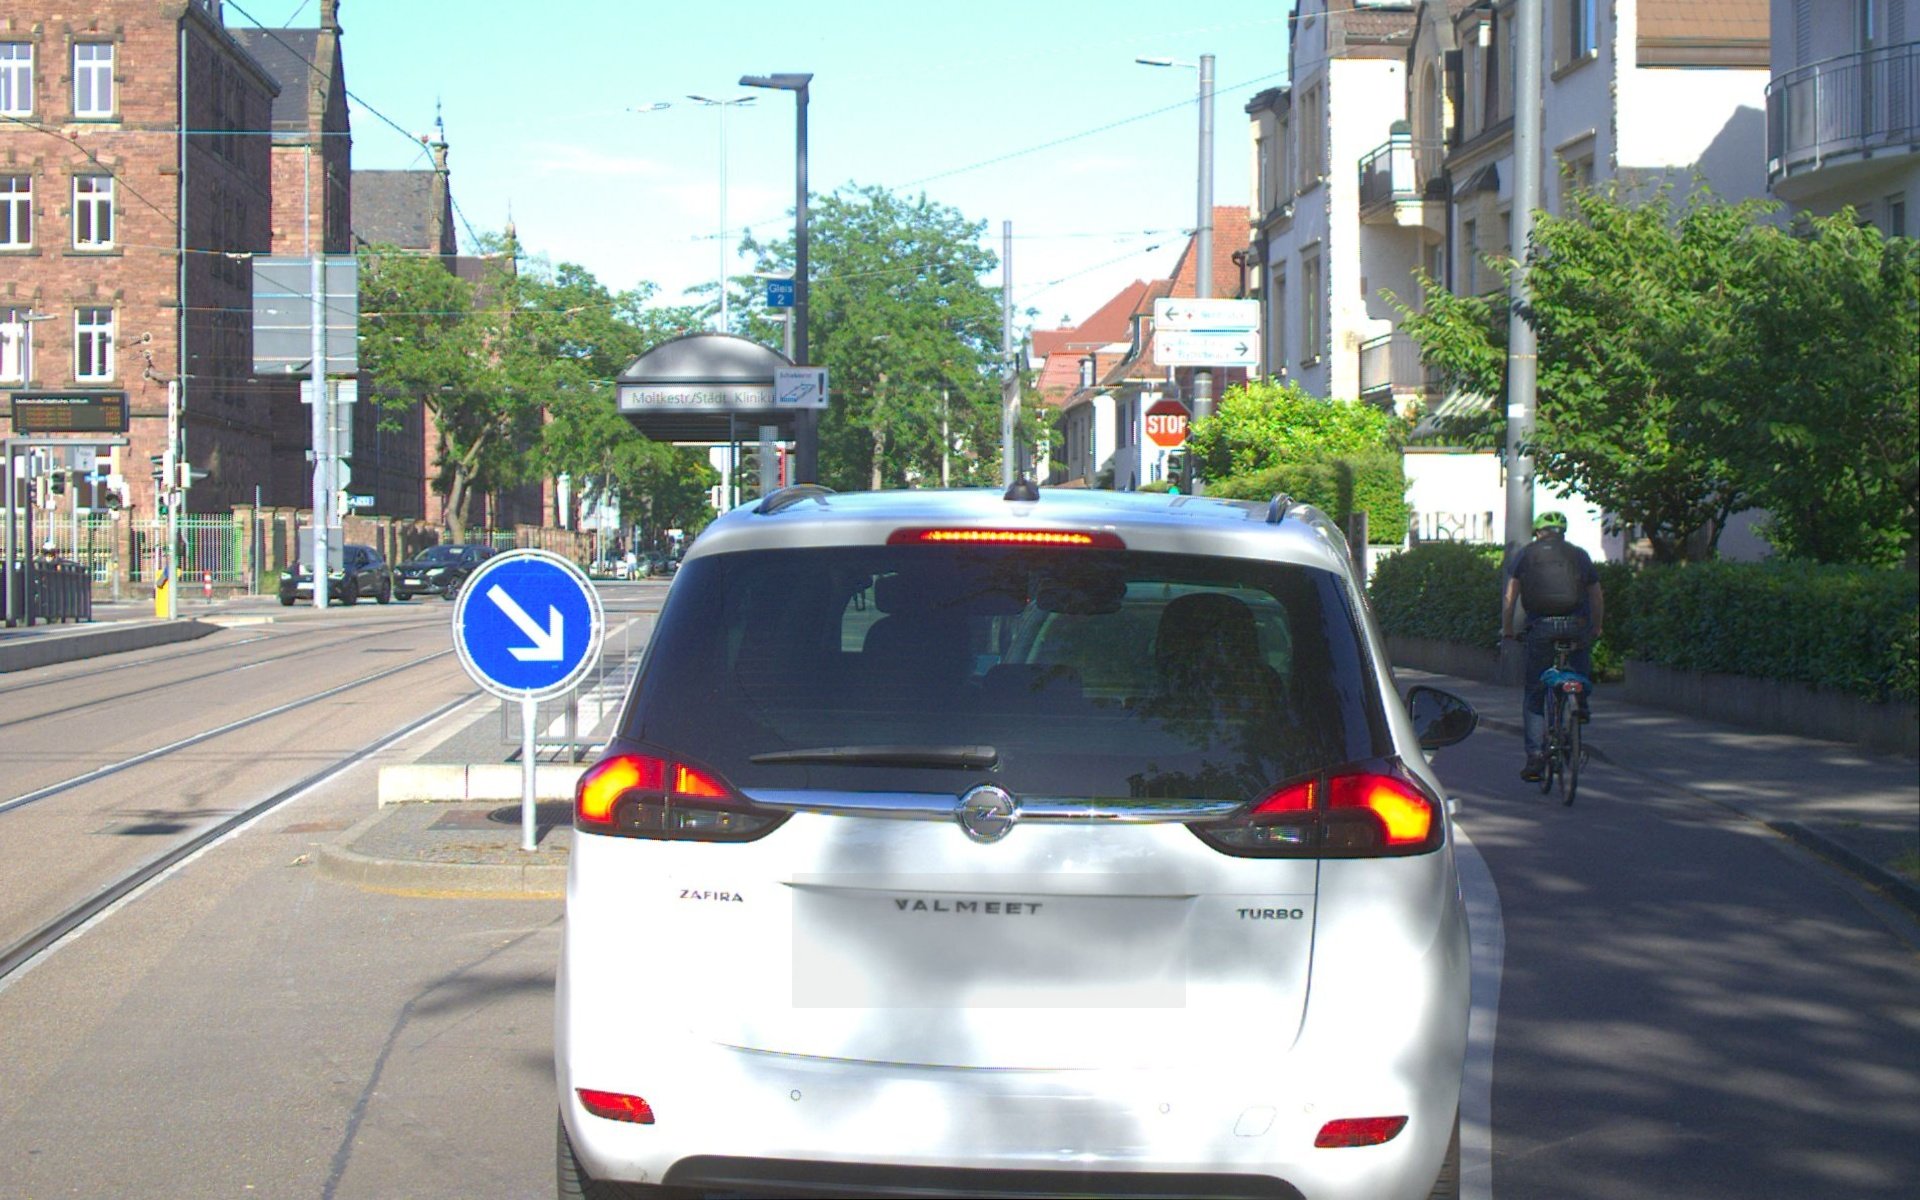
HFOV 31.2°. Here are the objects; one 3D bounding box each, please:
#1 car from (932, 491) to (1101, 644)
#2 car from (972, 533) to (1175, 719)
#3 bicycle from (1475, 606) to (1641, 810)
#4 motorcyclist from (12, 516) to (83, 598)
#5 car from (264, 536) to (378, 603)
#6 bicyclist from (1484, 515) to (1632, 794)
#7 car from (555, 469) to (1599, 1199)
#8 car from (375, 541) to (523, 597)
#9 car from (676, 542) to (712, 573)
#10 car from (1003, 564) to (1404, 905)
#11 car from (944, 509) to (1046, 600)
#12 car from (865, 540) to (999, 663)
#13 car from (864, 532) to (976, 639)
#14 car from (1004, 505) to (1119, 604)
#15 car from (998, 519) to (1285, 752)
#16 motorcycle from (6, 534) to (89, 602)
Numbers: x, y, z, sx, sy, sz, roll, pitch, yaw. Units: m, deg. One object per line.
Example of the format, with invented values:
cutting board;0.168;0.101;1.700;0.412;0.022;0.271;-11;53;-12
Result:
car;0.598;-0.371;39.097;1.776;1.626;3.881;1;1;-1
car;1.028;0.215;32.444;1.776;1.626;3.880;1;1;1
bicycle;3.591;0.629;20.739;0.685;1.153;1.619;1;0;-1
motorcyclist;-17.063;-0.801;64.296;1.124;1.520;1.055;1;0;-7
car;-15.178;-0.730;81.876;1.993;1.541;4.000;1;1;-1
bicyclist;3.595;0.316;20.737;0.685;1.629;1.015;1;0;-1
car;0.127;0.580;8.048;1.834;1.636;3.919;1;1;-2
car;-14.524;-0.879;97.853;1.997;1.541;3.992;1;1;34
car;-14.920;-2.401;192.850;1.906;1.671;4.358;1;1;-3
car;1.068;0.554;16.670;1.586;1.415;3.900;0;1;-1
car;0.621;-0.847;64.308;1.776;1.626;3.881;1;1;-1
car;-0.387;-0.001;47.835;1.776;1.626;3.881;1;1;0
car;-0.676;-0.255;57.111;1.776;1.687;3.881;1;1;-1
car;1.712;-0.782;59.270;1.776;1.626;3.881;1;1;-1
car;1.311;0.232;26.303;1.776;1.626;3.881;1;1;-3
motorcycle;-17.073;-0.601;64.357;1.130;1.239;2.574;1;1;-7
